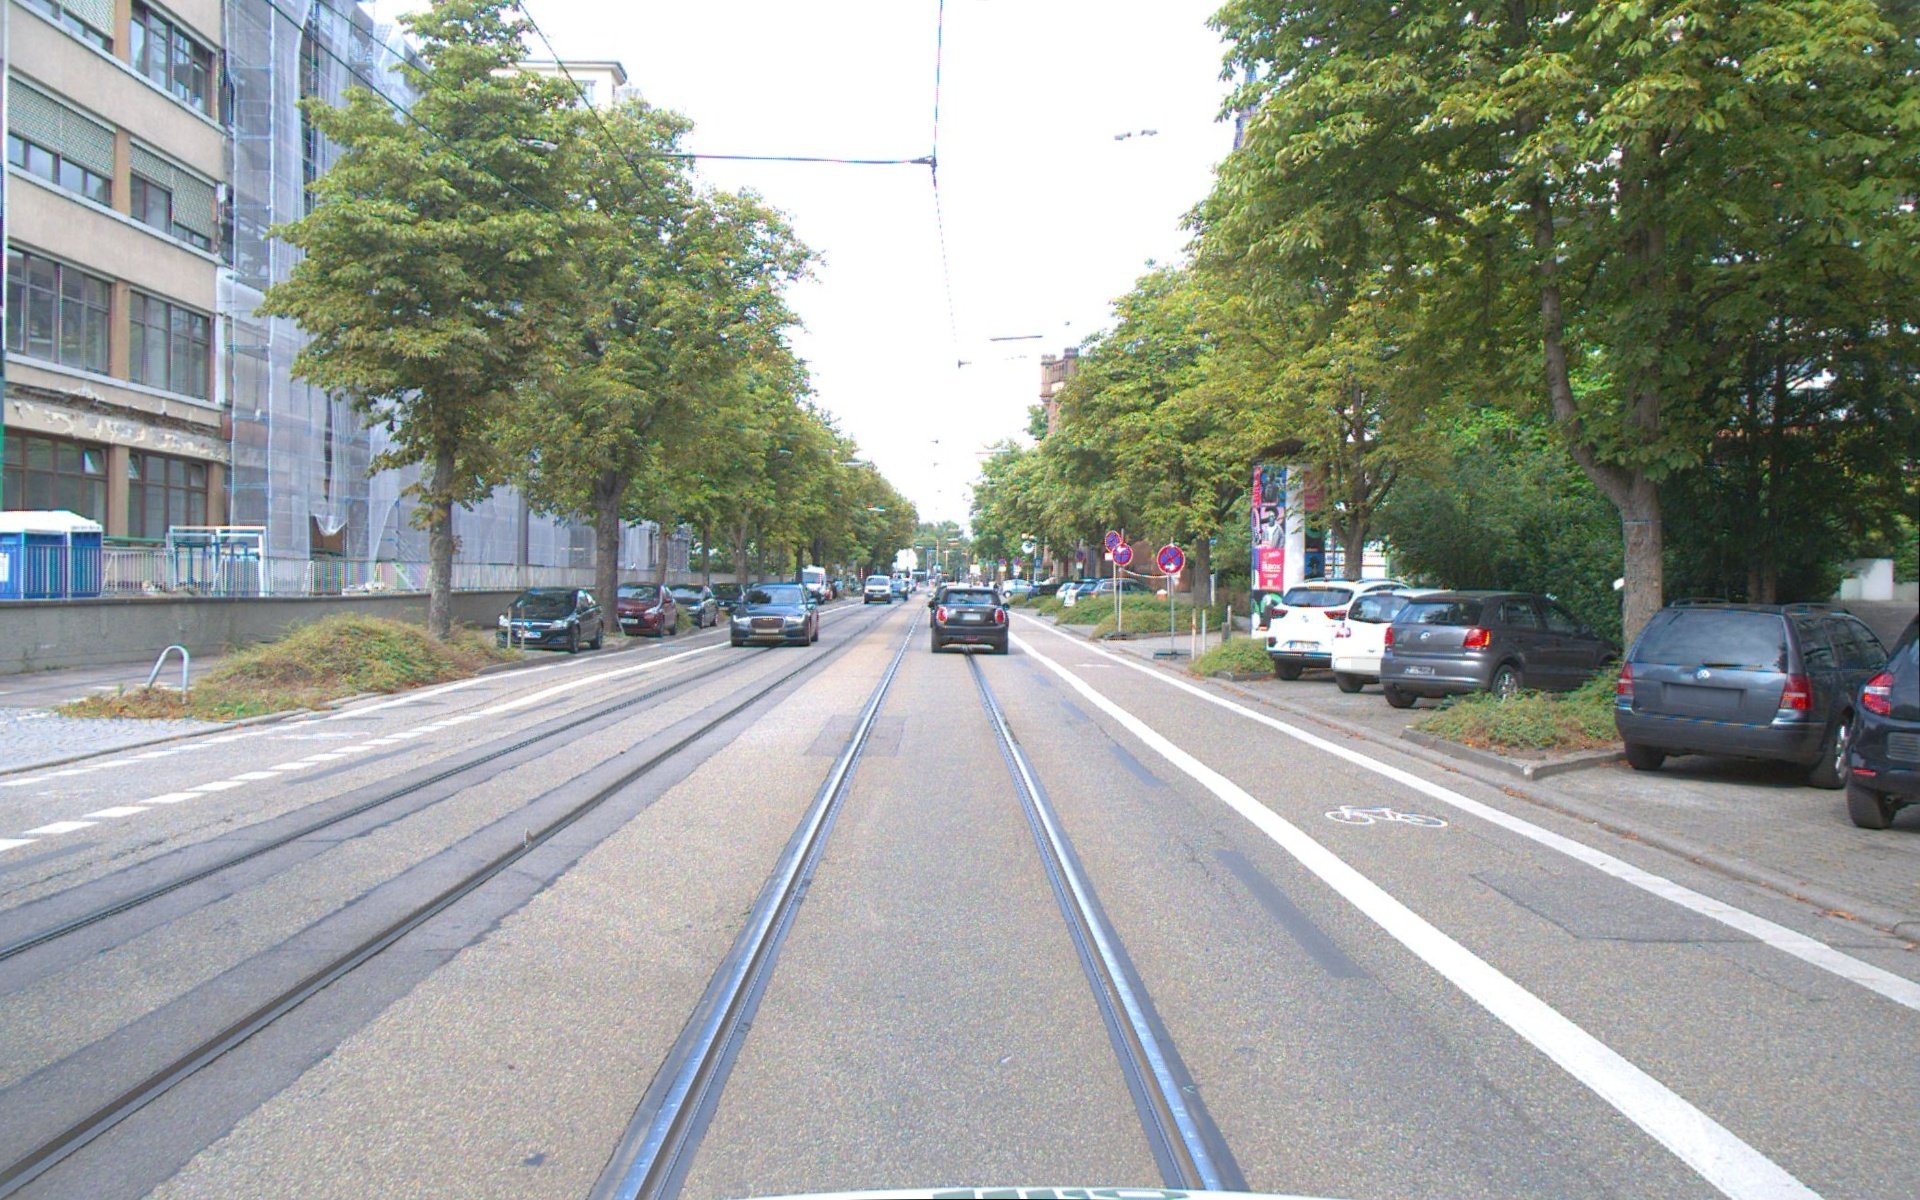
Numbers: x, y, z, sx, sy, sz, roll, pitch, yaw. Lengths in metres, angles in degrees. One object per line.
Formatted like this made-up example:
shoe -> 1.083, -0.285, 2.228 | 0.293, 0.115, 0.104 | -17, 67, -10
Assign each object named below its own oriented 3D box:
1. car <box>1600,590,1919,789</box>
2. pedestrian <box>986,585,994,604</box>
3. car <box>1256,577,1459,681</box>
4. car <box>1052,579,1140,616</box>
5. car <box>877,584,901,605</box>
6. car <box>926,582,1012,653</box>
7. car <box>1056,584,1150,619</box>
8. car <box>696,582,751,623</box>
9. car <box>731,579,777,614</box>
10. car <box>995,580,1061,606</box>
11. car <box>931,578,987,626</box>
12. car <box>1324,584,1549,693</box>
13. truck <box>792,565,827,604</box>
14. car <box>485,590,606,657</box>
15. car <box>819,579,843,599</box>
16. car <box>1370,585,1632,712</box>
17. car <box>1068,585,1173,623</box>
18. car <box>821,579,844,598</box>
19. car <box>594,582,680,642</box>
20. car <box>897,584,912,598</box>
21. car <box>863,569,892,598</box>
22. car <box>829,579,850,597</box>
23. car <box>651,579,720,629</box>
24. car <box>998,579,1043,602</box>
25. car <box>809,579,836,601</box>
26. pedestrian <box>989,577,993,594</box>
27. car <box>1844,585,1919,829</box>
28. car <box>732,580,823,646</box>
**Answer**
car -> 7.128, 0.690, 14.409 | 1.612, 1.484, 3.714 | 1, 0, 43
pedestrian -> 2.746, -0.501, 150.663 | 0.711, 1.674, 0.767 | 1, 0, 1
car -> 6.589, 0.446, 27.298 | 3.415, 1.600, 1.538 | 0, 1, -40
car -> 6.411, -0.121, 78.240 | 3.908, 1.656, 1.883 | 1, 0, -4
car -> -5.536, -0.435, 129.406 | 1.766, 1.650, 4.483 | 0, 0, -2
car -> 0.155, 0.353, 36.997 | 1.757, 1.448, 3.999 | 1, 1, -2
car -> 6.270, 0.049, 72.833 | 3.908, 1.449, 1.883 | 1, 0, -4
car -> -9.536, 0.079, 66.893 | 1.766, 1.611, 4.030 | 0, 0, -2
car -> -9.580, -0.176, 77.128 | 1.766, 1.611, 4.030 | 0, 0, -2
car -> 4.252, -0.455, 103.824 | 3.908, 1.534, 1.883 | 1, 0, -4
car -> -0.079, 0.042, 55.717 | 1.757, 1.495, 3.999 | 2, 0, -1
car -> 7.015, 0.530, 24.233 | 3.415, 1.468, 1.538 | 0, 1, -40
truck -> -10.034, -1.039, 110.574 | 2.029, 2.513, 4.897 | 0, 0, -2
car -> -9.179, 0.478, 36.902 | 1.766, 1.398, 4.030 | 0, 0, -2
car -> -10.617, -0.925, 136.145 | 1.766, 1.611, 4.030 | 0, 0, -2
car -> 6.956, 0.571, 21.139 | 3.502, 1.468, 1.600 | 0, 1, -40
car -> 6.377, 0.142, 65.933 | 3.908, 1.449, 1.883 | 1, 0, -4
car -> -10.973, -0.982, 142.043 | 1.766, 1.611, 4.030 | 0, 0, -2
car -> -9.180, 0.313, 47.295 | 1.766, 1.611, 4.030 | 0, 0, -2
car -> -6.640, -1.080, 197.269 | 1.766, 1.650, 4.483 | 0, 0, -2
car -> -5.475, -1.091, 110.069 | 1.766, 1.855, 4.483 | 0, 0, -2
car -> -11.229, -1.092, 153.790 | 1.766, 1.611, 4.030 | 0, 0, -2
car -> -9.275, 0.118, 56.164 | 1.766, 1.611, 4.030 | 0, 0, -2
car -> 5.491, -0.856, 150.038 | 3.908, 1.944, 1.999 | 2, 1, -4
car -> -10.194, -0.758, 123.054 | 1.766, 1.611, 4.030 | 0, 0, -2
pedestrian -> 3.830, -1.771, 203.227 | 0.507, 2.049, 0.480 | 1, 0, 2
car -> 7.639, 0.708, 11.597 | 1.612, 1.549, 3.714 | 1, 0, 43
car -> -4.339, 0.274, 39.955 | 1.797, 1.473, 4.552 | 1, 1, -2
